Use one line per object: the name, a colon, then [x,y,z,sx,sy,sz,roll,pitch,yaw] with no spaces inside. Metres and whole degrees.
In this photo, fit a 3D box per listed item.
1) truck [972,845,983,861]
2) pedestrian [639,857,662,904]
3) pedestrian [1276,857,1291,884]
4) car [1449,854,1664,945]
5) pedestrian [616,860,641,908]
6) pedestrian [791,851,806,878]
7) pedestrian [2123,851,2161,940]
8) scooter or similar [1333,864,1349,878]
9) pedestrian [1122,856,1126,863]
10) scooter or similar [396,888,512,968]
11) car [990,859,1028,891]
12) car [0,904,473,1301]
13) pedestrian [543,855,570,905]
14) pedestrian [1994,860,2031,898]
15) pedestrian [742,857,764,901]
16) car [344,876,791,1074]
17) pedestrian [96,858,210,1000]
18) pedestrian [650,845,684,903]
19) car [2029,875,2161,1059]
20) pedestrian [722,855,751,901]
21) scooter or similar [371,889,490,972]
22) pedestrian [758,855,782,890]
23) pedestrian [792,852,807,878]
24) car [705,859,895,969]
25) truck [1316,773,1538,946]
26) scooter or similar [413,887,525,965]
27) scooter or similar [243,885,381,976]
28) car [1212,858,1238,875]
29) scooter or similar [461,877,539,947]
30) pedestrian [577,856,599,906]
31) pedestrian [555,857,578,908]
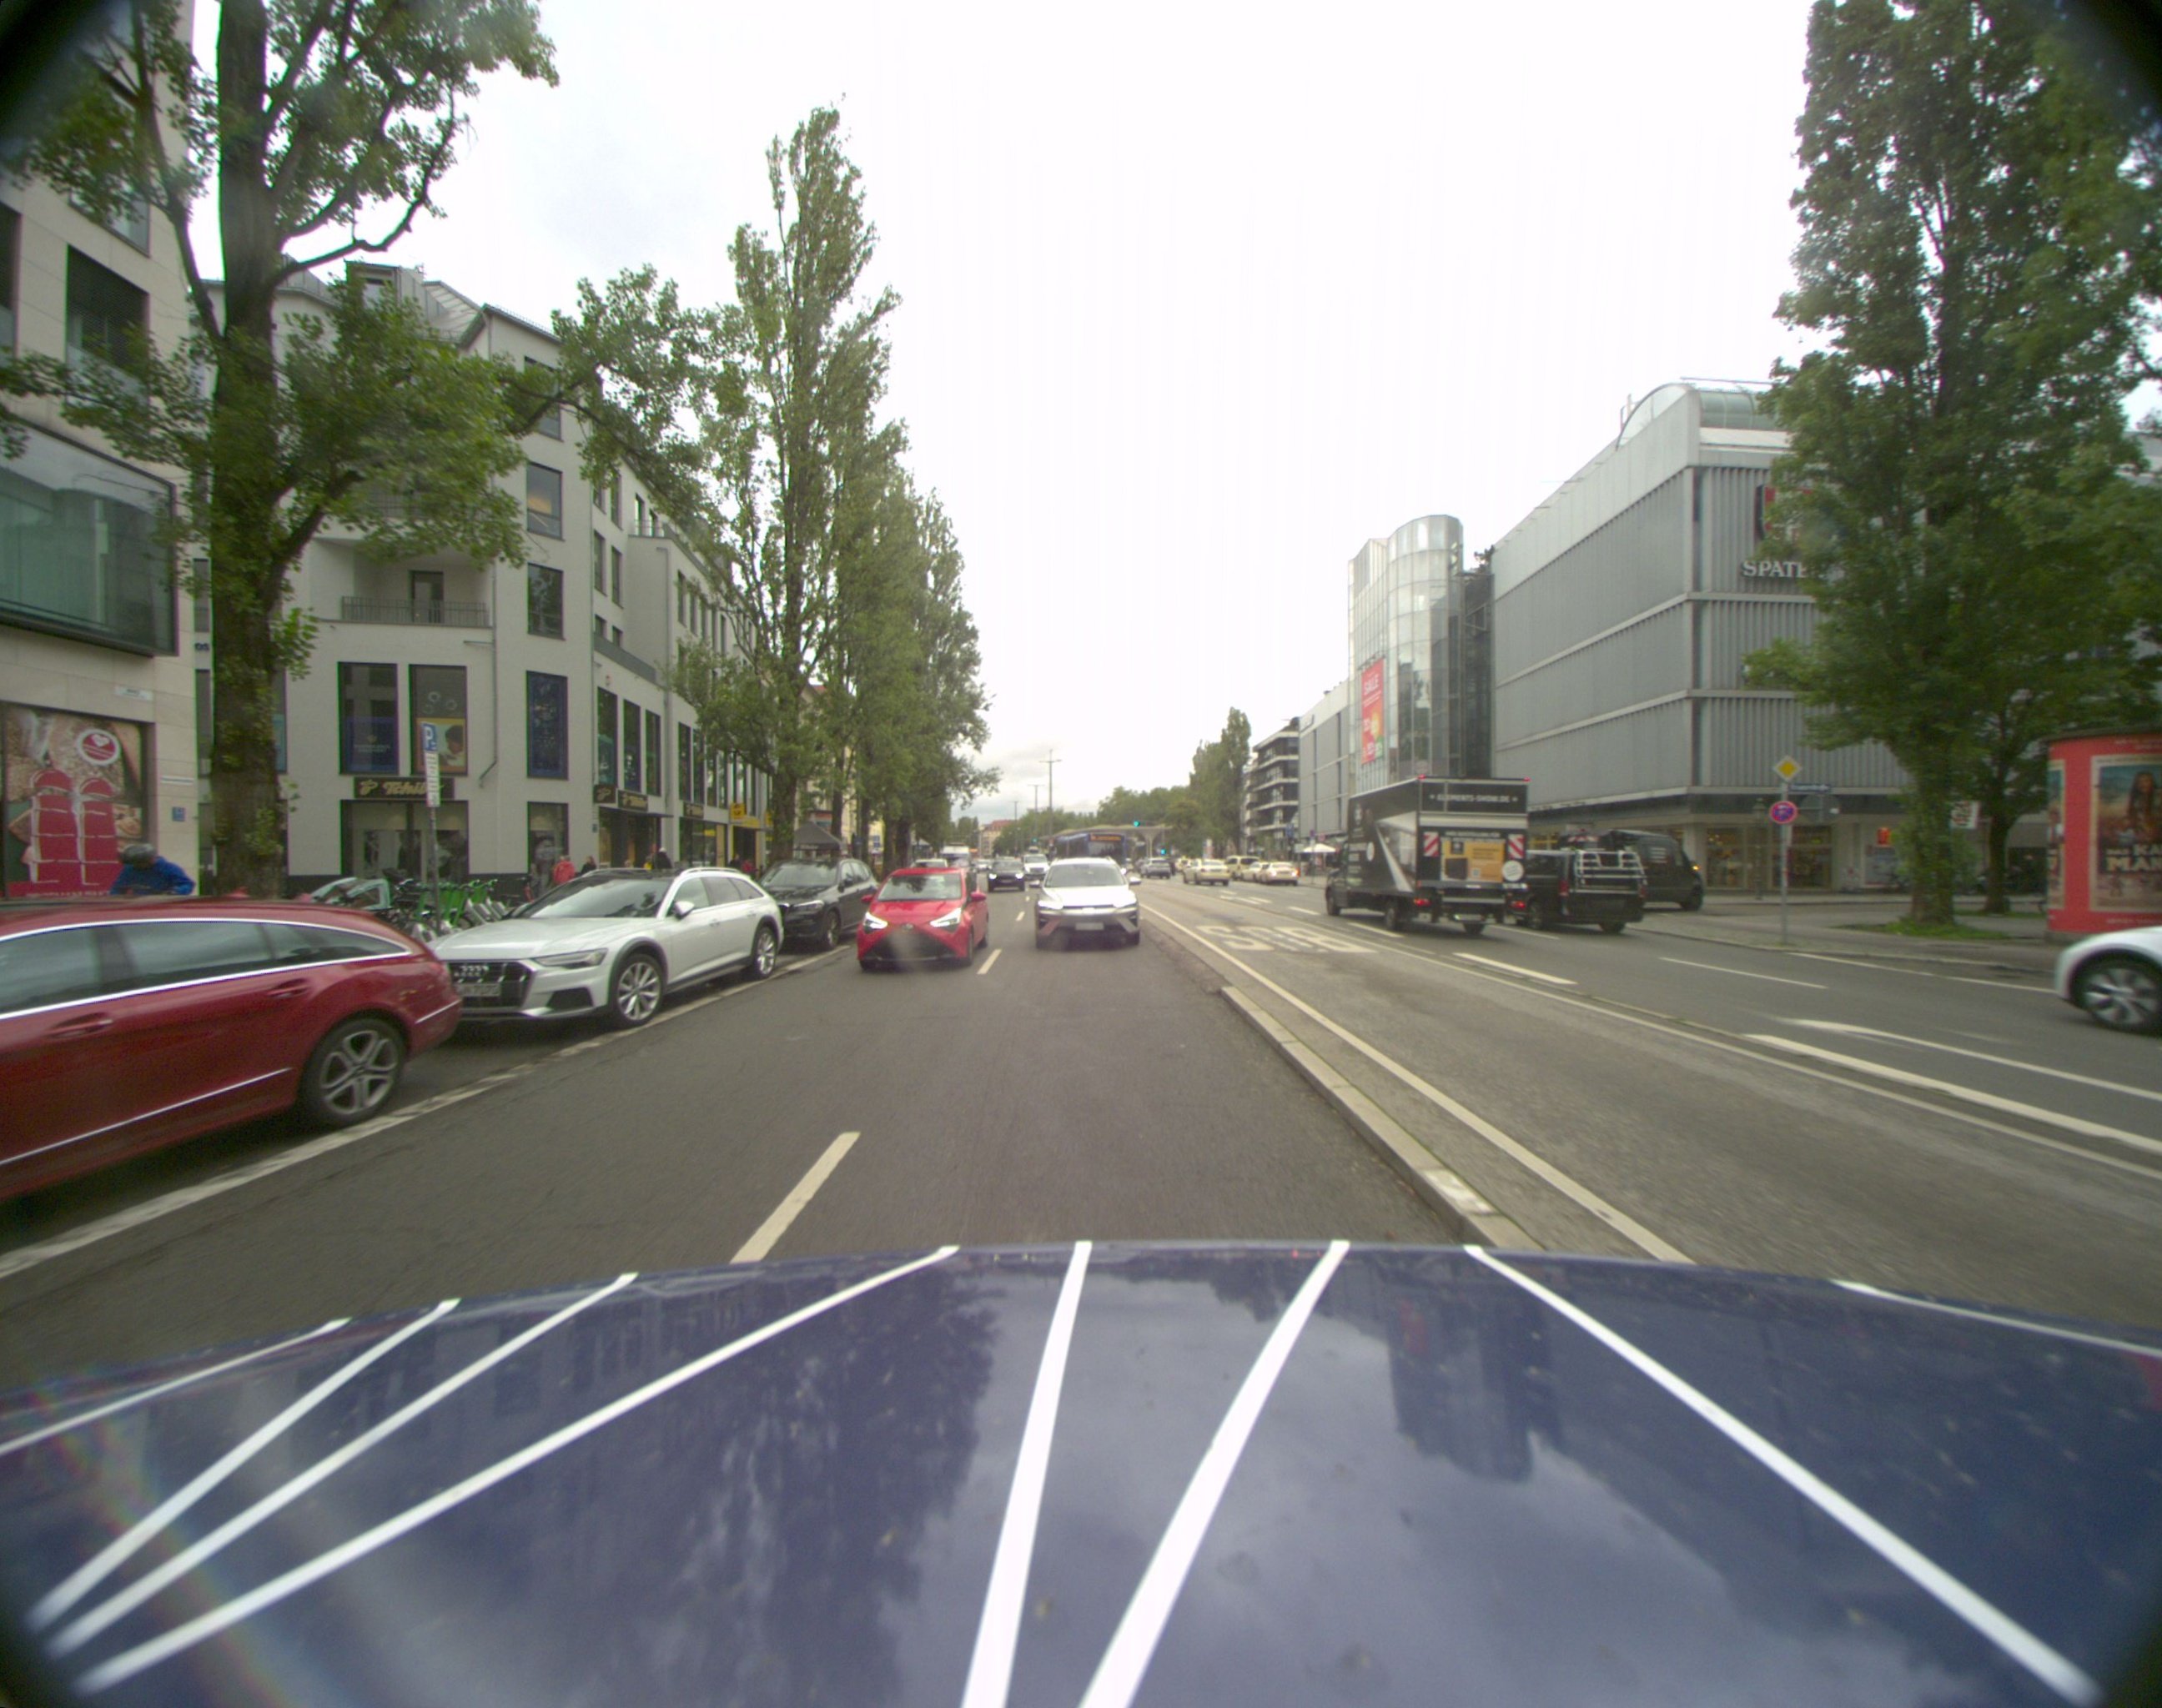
truck: [-24.103,-0.232,177.099,2.543,3.468,7.745,0,0,-9]
pedestrian: [-15.354,0.937,27.089,0.491,1.625,0.569,0,1,-1]
pedestrian: [14.280,1.155,53.602,0.788,1.856,0.846,2,2,0]
car: [11.377,0.958,18.857,1.998,1.852,5.713,1,0,4]
pedestrian: [-14.714,0.962,24.720,0.491,1.558,0.569,0,1,-1]
pedestrian: [-17.774,0.658,47.792,0.693,1.639,0.797,0,0,-9]
pedestrian: [23.216,0.876,16.201,0.860,1.887,0.832,0,0,-4]
scooter or similar: [20.774,1.353,60.694,0.368,1.133,1.378,0,0,-28]
pedestrian: [7.591,0.982,133.103,0.550,1.330,0.591,0,0,-9]
scooter or similar: [-9.580,1.124,11.626,1.438,1.194,0.311,0,0,-5]
car: [-3.609,1.003,37.687,1.741,1.461,4.048,-1,0,-7]
car: [-5.339,1.087,3.093,1.936,1.441,4.803,0,0,-1]
pedestrian: [-17.299,0.846,25.043,0.506,1.615,0.550,-1,2,40]
pedestrian: [41.136,1.106,33.556,0.717,1.662,0.752,0,1,-11]
pedestrian: [-12.966,0.982,30.057,0.670,1.715,0.768,0,1,-16]
car: [-5.158,1.069,8.671,1.815,1.491,4.806,0,0,0]
pedestrian: [-11.041,0.856,9.048,0.792,1.610,0.613,1,0,18]
pedestrian: [-13.730,0.653,25.210,0.648,1.913,0.925,0,0,-4]
car: [10.721,1.056,5.528,1.998,1.641,4.637,1,0,4]
pedestrian: [-12.630,0.861,27.857,0.716,1.666,0.783,0,0,-4]
scooter or similar: [-9.716,1.132,11.365,1.438,1.194,0.311,0,0,-5]
pedestrian: [-14.724,0.863,36.000,0.802,1.627,1.023,0,0,-6]
pedestrian: [-16.654,0.654,44.931,0.684,1.549,0.750,0,0,-7]
car: [-5.248,1.019,14.974,1.929,1.690,4.649,-2,1,0]
truck: [7.770,0.101,18.236,2.296,3.303,7.158,1,0,2]
scooter or similar: [-9.615,1.126,11.949,1.438,1.194,0.311,0,0,-5]
scooter or similar: [-10.740,1.052,10.633,1.388,1.204,0.554,0,0,2]
car: [14.211,1.210,75.100,1.757,1.527,4.000,0,0,-1]
scooter or similar: [-10.225,1.012,13.394,1.053,1.219,0.379,0,0,-4]
pedestrian: [-16.578,0.896,25.552,0.508,1.615,0.547,-3,2,-36]
pedestrian: [-16.747,0.922,24.724,0.550,1.615,0.506,-3,2,-34]
